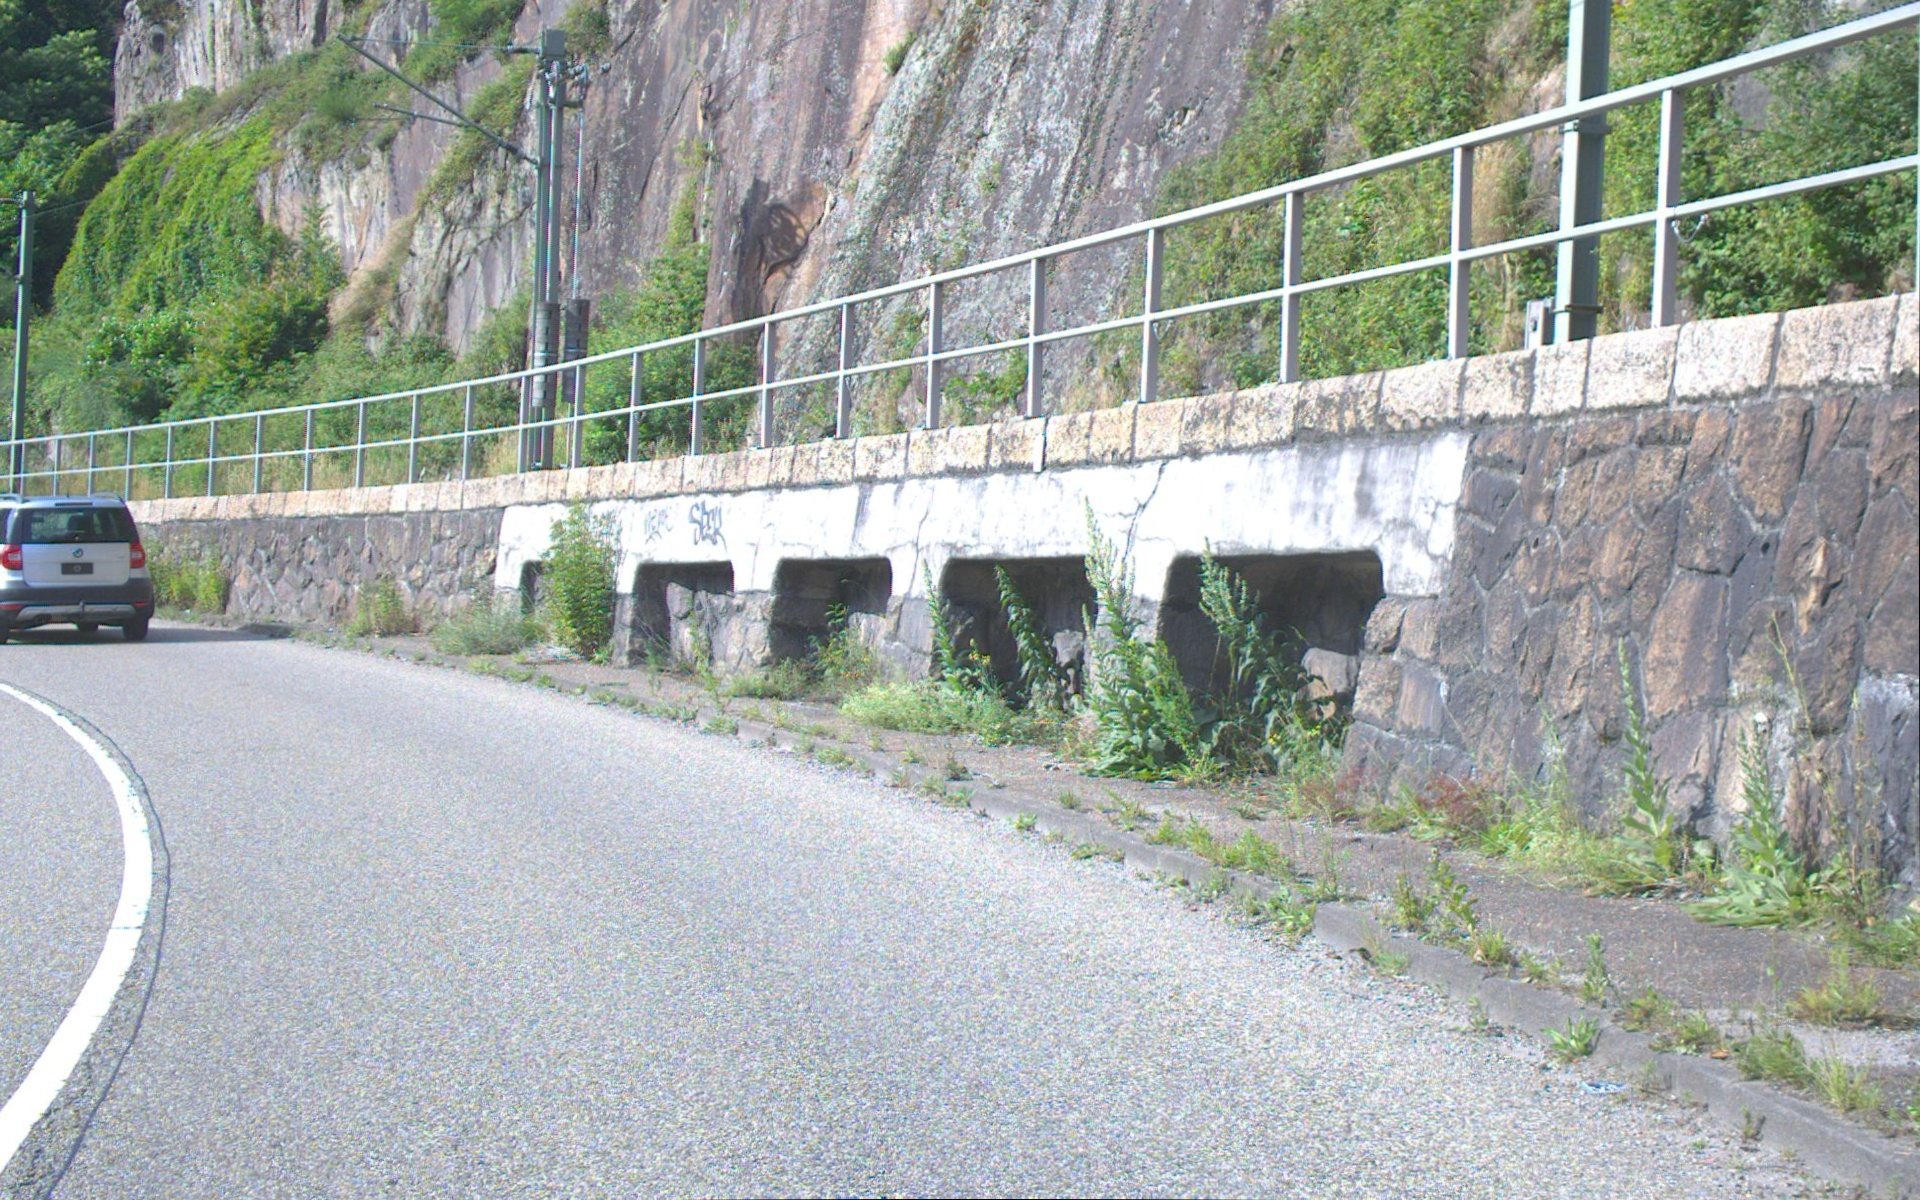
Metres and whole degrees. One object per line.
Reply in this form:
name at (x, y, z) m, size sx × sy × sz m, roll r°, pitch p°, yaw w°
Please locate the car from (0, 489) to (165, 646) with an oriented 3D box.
car at (-10.372, -0.418, 39.313) m, size 1.872 × 1.650 × 4.001 m, roll 0°, pitch 2°, yaw -22°
